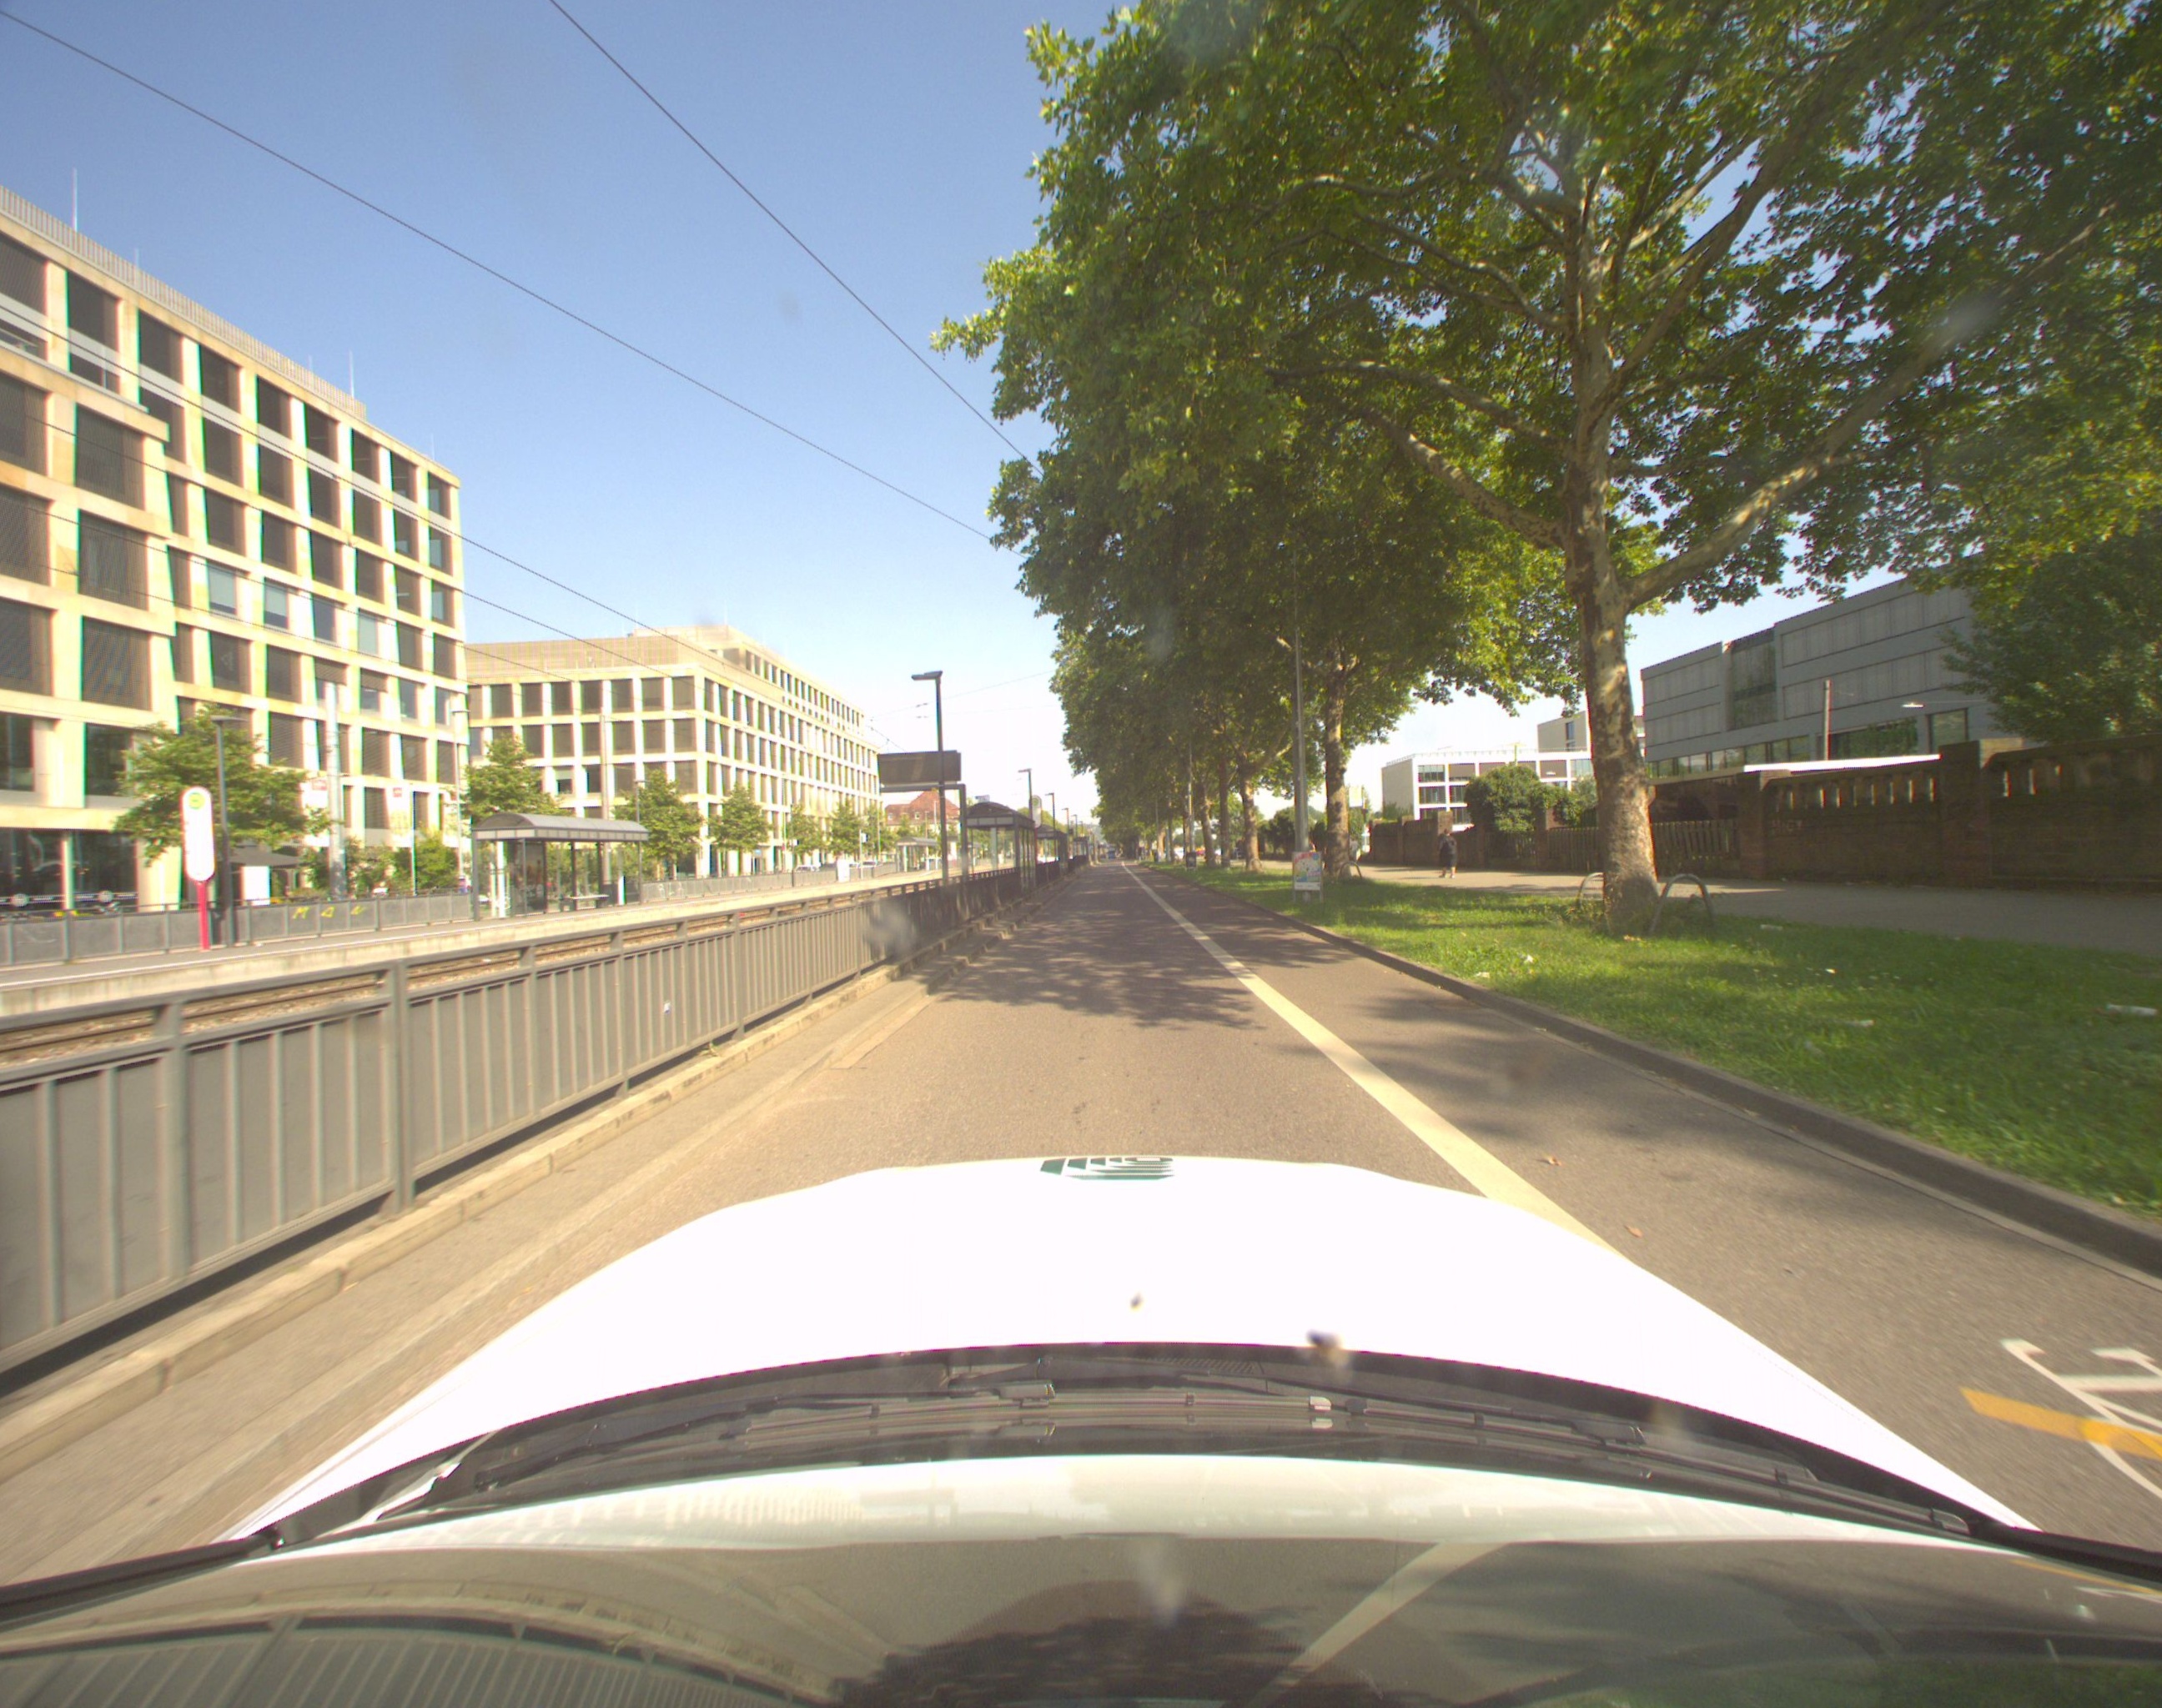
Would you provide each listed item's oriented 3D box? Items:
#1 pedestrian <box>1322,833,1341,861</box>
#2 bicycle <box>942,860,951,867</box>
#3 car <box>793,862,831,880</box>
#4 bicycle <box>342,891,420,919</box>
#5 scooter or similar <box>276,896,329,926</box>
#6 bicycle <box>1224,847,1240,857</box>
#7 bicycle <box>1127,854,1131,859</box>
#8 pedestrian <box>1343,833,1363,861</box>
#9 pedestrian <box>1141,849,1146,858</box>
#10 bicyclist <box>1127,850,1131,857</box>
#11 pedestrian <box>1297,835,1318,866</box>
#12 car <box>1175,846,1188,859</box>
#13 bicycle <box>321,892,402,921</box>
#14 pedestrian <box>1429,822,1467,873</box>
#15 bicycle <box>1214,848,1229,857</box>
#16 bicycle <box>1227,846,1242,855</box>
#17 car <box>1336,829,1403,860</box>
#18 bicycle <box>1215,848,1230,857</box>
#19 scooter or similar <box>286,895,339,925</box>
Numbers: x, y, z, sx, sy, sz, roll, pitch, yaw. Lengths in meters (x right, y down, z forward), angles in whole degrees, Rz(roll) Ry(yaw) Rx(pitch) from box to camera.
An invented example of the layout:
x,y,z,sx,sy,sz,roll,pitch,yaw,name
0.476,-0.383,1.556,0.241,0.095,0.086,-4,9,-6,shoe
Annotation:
x,y,z,sx,sy,sz,roll,pitch,yaw,name
14.975,-0.394,48.748,0.803,1.604,0.948,-4,0,2,pedestrian
-14.148,0.977,85.421,0.474,0.662,1.616,-3,0,7,bicycle
-22.692,1.404,68.921,1.636,1.376,4.225,-3,0,2,car
-28.488,2.080,33.179,2.425,0.986,0.821,-3,0,0,bicycle
-28.128,2.041,29.423,1.496,0.986,0.372,-3,0,0,scooter or similar
16.580,-0.191,89.347,1.647,0.969,0.507,-4,0,7,bicycle
9.733,0.513,164.356,0.712,1.107,2.510,-1,0,3,bicycle
16.190,-0.407,48.553,0.803,1.604,0.948,-4,0,2,pedestrian
11.268,-0.112,146.763,0.618,1.617,0.850,-3,0,39,pedestrian
9.720,-0.084,164.373,0.703,1.461,1.010,-1,0,2,bicyclist
12.549,-0.213,45.095,0.803,1.636,0.948,-4,0,2,pedestrian
17.682,-0.279,143.452,1.715,2.048,4.464,-3,0,3,car
-28.376,2.066,32.136,2.425,0.986,0.821,-3,0,0,bicycle
12.559,-0.227,27.902,0.816,1.686,1.013,-3,0,2,pedestrian
16.011,-0.201,92.979,0.509,0.969,1.642,-4,0,-39,bicycle
17.668,-0.377,93.877,1.649,0.969,0.507,-4,0,4,bicycle
22.948,-0.756,64.923,4.644,2.318,2.057,-1,0,2,car
15.960,-0.155,91.707,0.509,0.969,1.642,-4,0,-39,bicycle
-28.238,2.048,29.939,1.517,0.986,0.395,-3,0,0,scooter or similar
